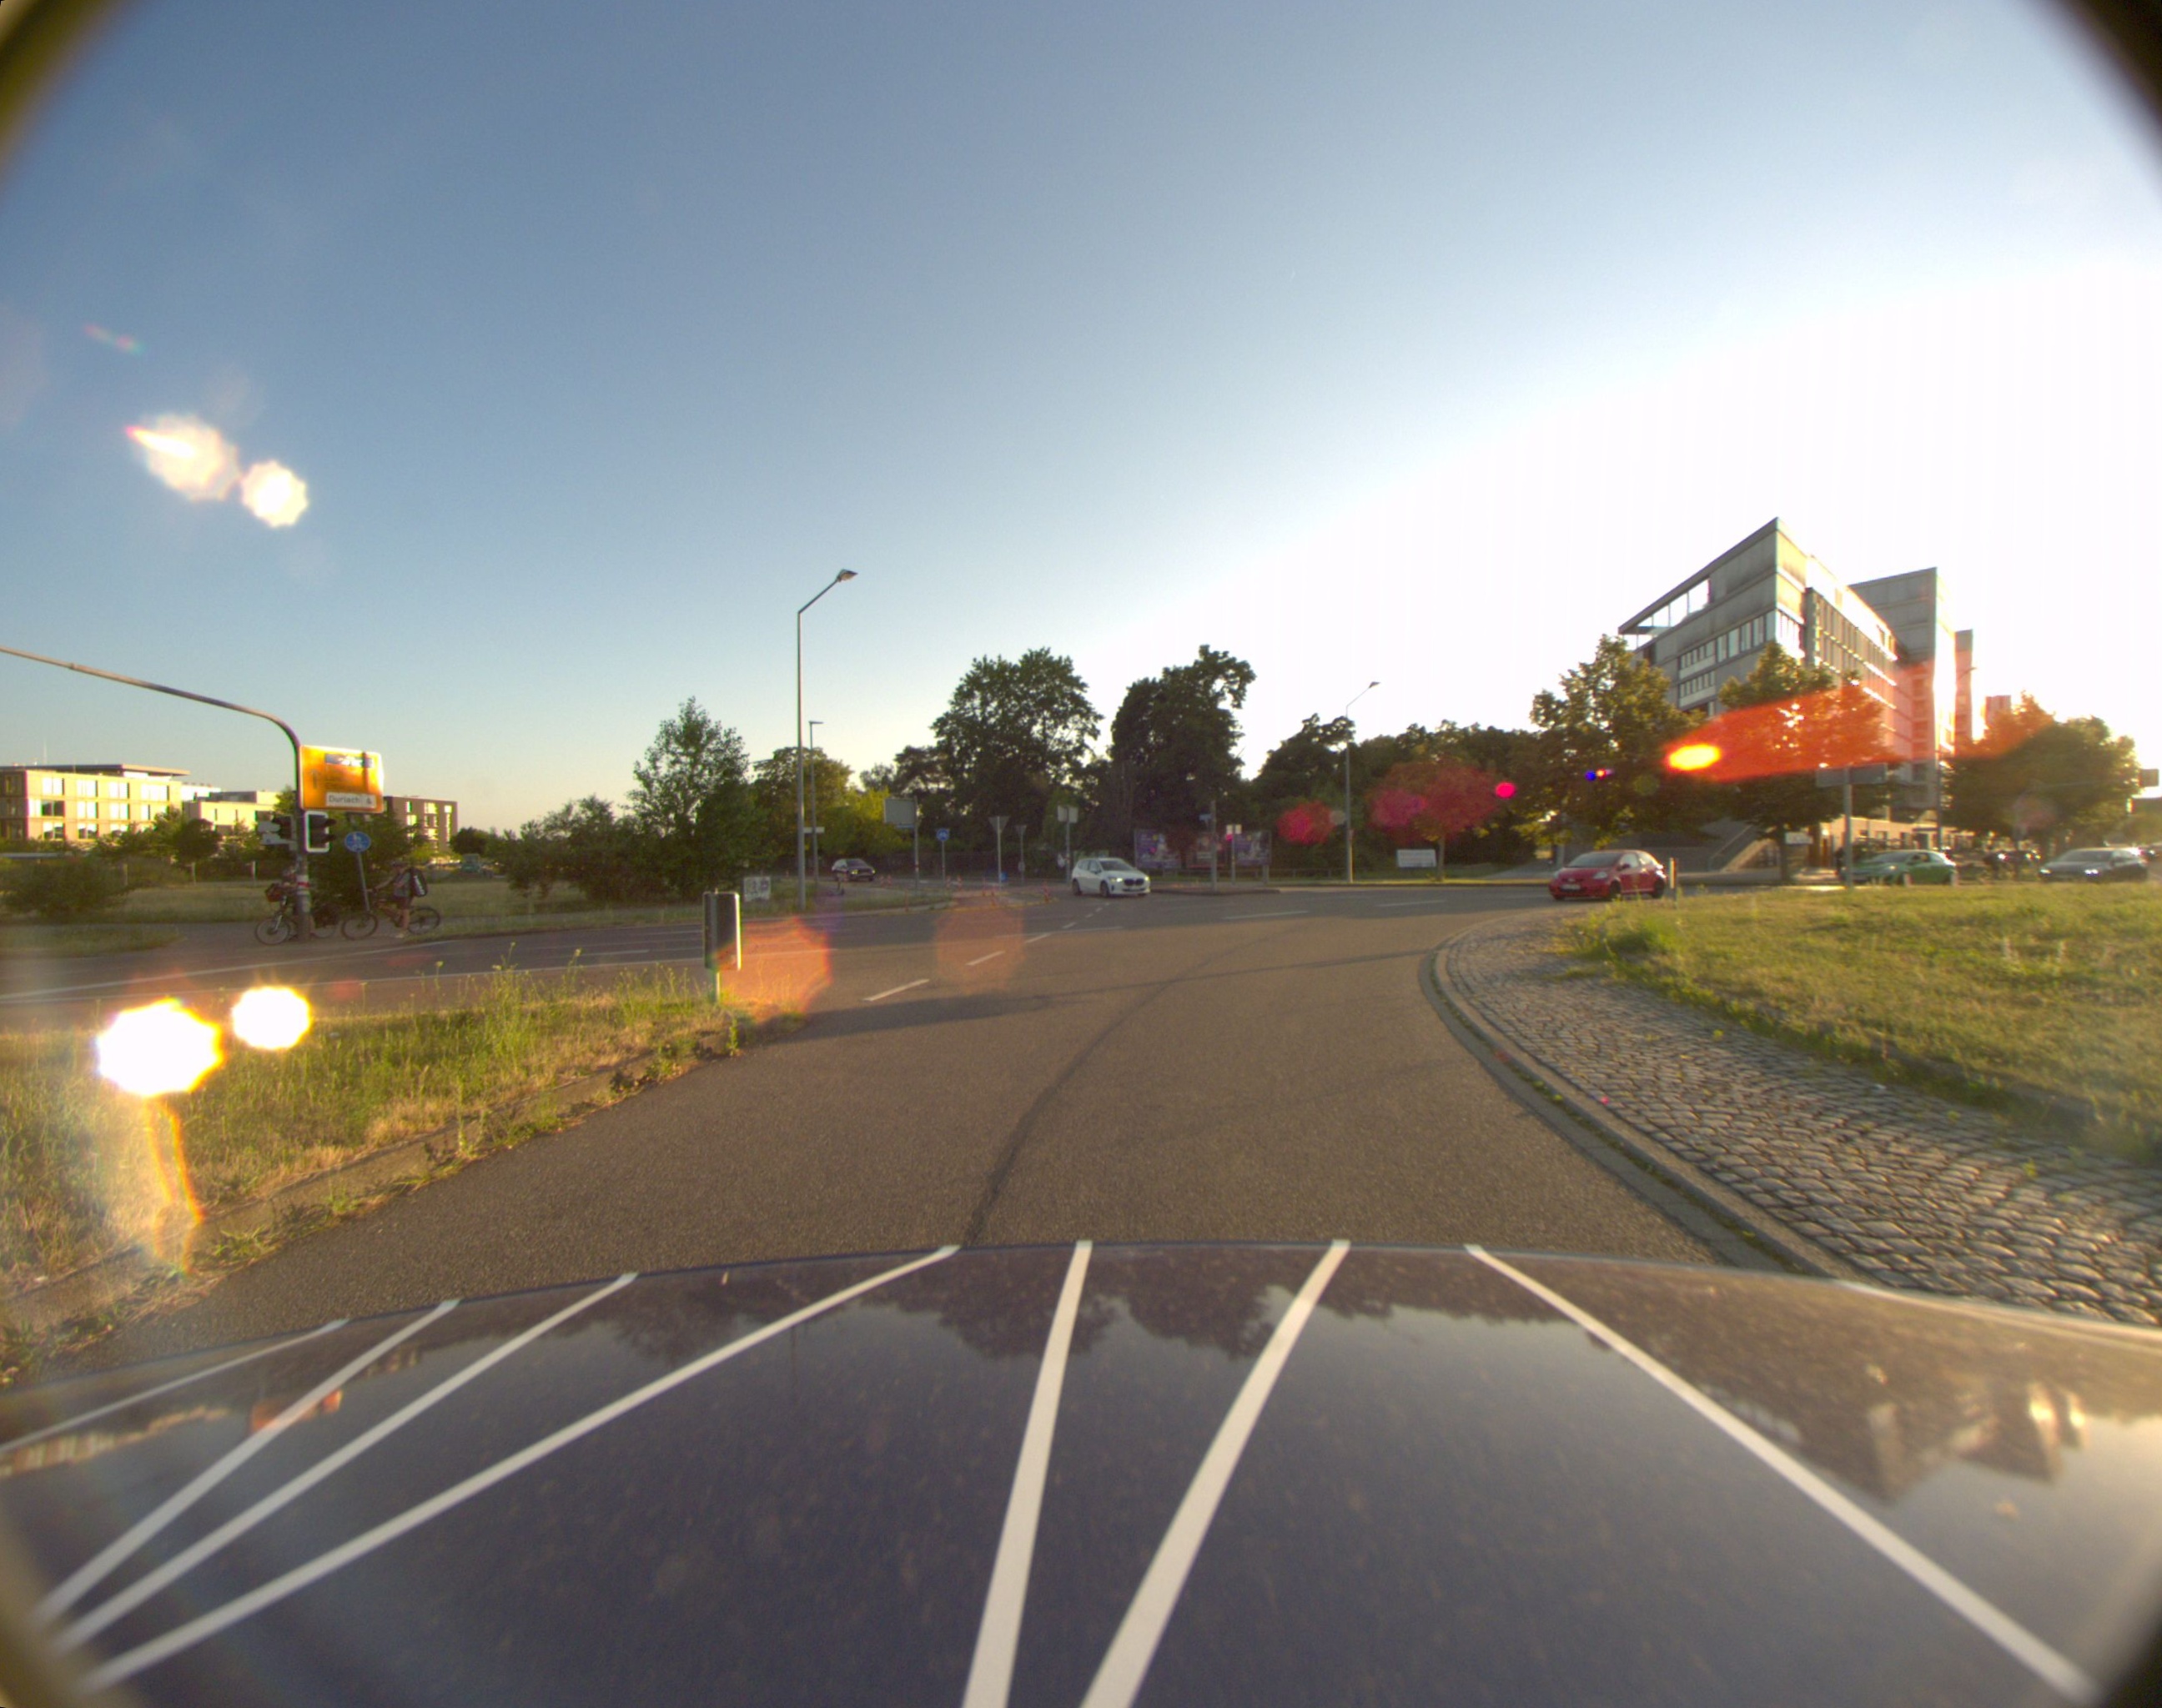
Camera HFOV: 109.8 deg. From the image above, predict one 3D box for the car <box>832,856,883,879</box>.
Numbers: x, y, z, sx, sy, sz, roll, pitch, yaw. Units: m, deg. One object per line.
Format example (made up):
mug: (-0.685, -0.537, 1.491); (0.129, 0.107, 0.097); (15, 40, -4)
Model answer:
car: (-16.343, 0.981, 55.494); (2.004, 1.588, 4.302); (-1, 1, -40)

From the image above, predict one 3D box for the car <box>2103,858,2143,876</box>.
car: (83.979, 1.003, 61.240); (4.133, 1.371, 1.747); (-1, 1, -34)

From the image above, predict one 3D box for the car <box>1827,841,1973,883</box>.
car: (30.060, 0.275, 27.943); (4.000, 1.412, 1.688); (-1, 0, -8)

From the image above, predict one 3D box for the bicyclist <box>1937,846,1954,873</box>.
bicyclist: (46.975, 0.307, 41.275); (0.693, 1.432, 0.610); (-2, 1, -42)

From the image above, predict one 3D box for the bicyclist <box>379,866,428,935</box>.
bicyclist: (-17.145, 1.162, 19.232); (0.723, 1.680, 0.690); (-1, 1, 28)

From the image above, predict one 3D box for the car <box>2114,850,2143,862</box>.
car: (135.014, 0.213, 97.951); (4.008, 1.444, 1.994); (-1, 1, -39)

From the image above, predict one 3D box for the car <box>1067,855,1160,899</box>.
car: (1.238, 0.878, 31.012); (2.003, 1.597, 4.189); (-1, 0, -27)

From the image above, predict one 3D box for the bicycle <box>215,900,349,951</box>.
bicycle: (-19.272, 1.695, 18.412); (0.708, 0.958, 2.109); (-1, 2, 14)

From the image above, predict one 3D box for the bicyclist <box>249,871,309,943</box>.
bicyclist: (-19.330, 1.254, 18.325); (0.724, 1.680, 0.690); (-1, 1, 12)

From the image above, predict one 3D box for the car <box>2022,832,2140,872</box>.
car: (41.975, -0.103, 31.894); (4.333, 1.568, 1.731); (-1, 1, -19)

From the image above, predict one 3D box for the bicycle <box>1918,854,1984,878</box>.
bicycle: (47.077, 0.627, 41.147); (0.744, 1.237, 2.341); (-2, 1, -41)

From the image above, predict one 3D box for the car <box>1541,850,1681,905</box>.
car: (15.460, 0.630, 22.135); (4.006, 1.412, 1.686); (-1, 0, -28)

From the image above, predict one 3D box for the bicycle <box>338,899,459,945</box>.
bicycle: (-17.161, 1.677, 19.172); (0.708, 0.957, 2.149); (-1, 0, 26)

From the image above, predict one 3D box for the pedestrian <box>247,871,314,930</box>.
pedestrian: (-22.712, 1.288, 21.585); (0.993, 1.581, 0.925); (-1, 1, -24)

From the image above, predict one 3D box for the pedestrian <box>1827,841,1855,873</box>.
pedestrian: (49.558, 0.203, 49.568); (0.776, 2.002, 0.998); (-2, 1, -11)

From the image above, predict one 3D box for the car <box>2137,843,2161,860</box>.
car: (114.137, -0.253, 80.858); (5.316, 1.801, 1.995); (0, -2, -35)
